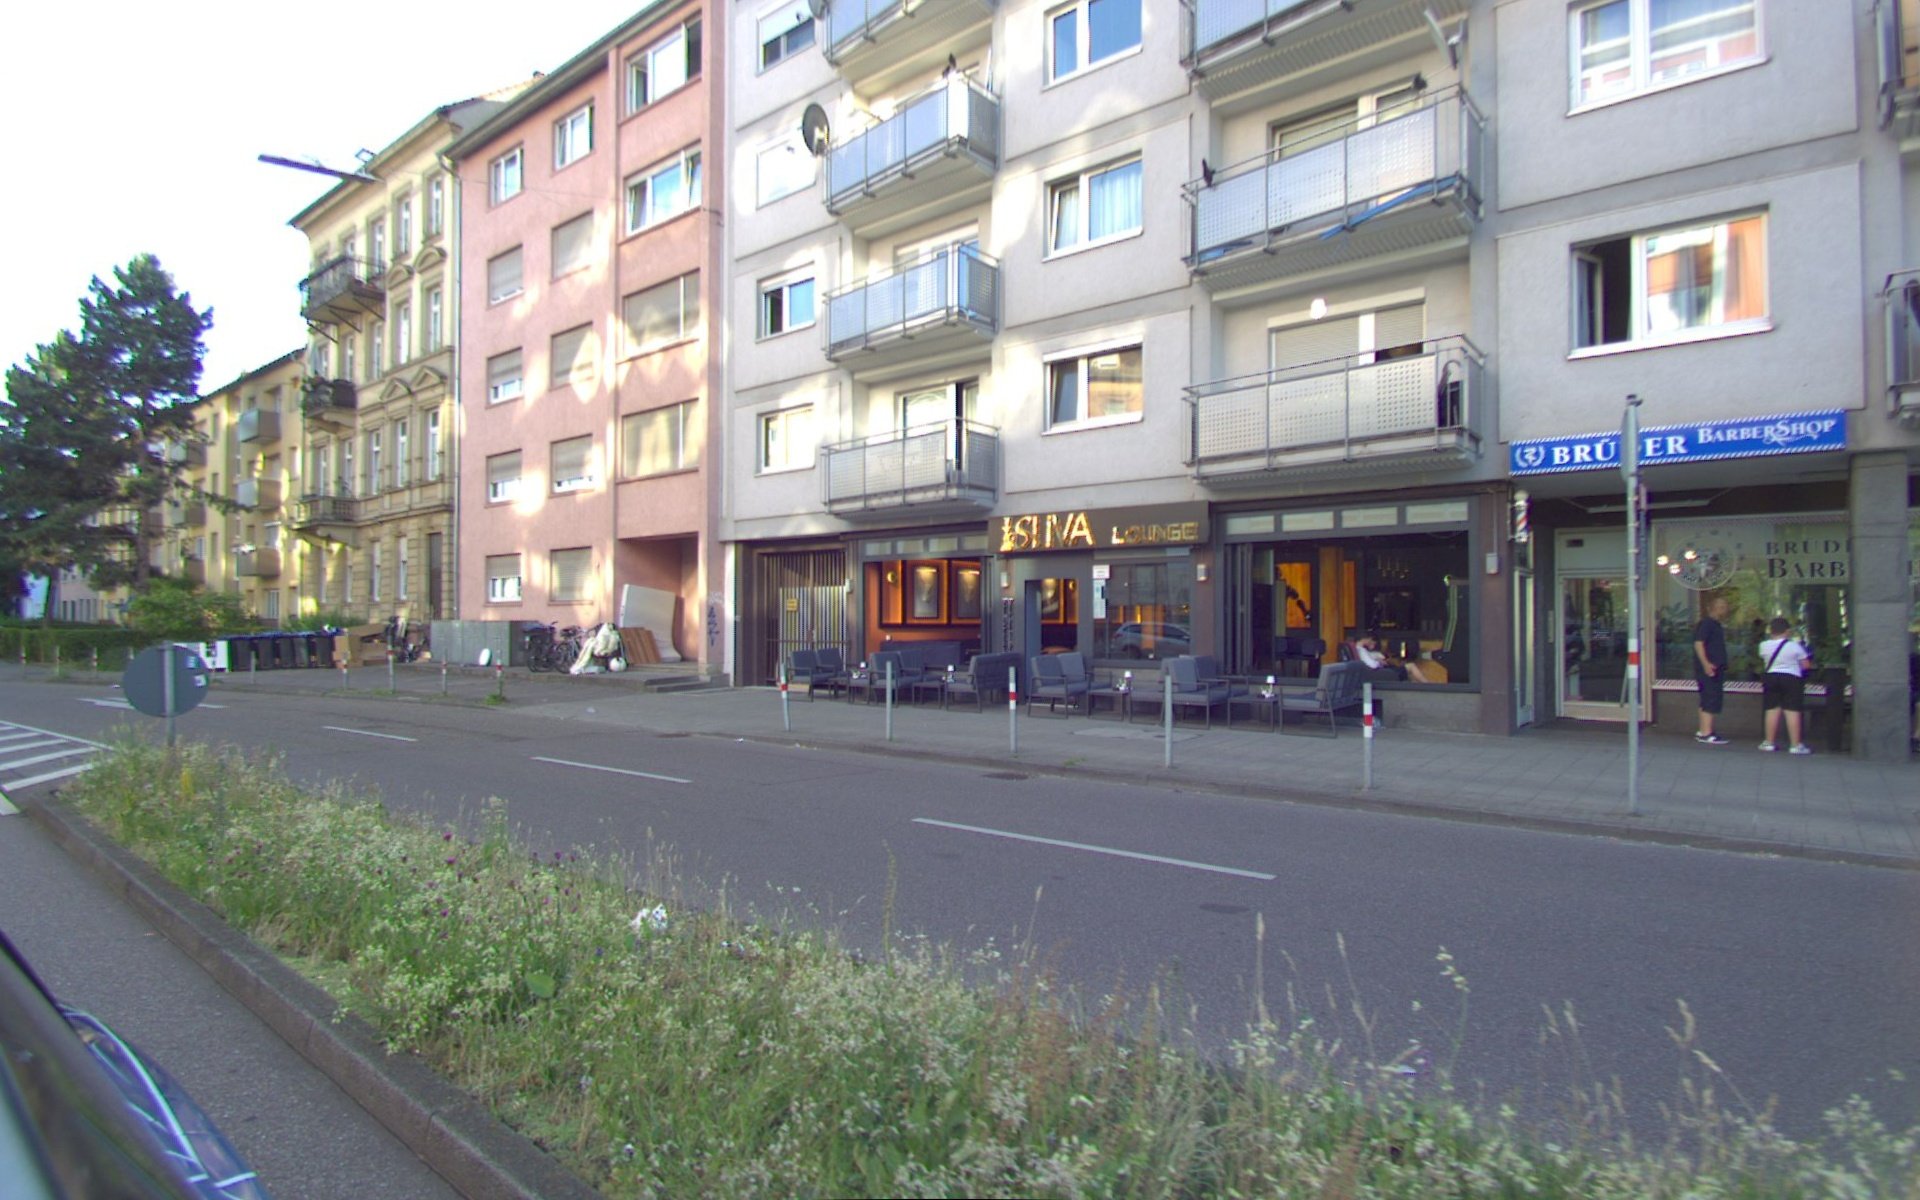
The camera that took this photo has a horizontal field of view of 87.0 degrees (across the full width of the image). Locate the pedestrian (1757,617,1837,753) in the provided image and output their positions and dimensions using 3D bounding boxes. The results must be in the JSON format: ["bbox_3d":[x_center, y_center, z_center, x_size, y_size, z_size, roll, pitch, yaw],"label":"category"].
[{"bbox_3d":[8.879,0.882,10.740,0.476,1.394,0.483,1,-2,-30],"label":"pedestrian"}]

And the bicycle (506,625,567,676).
[{"bbox_3d":[-10.429,1.219,24.967,0.491,1.169,1.668,-1,0,14],"label":"bicycle"}]

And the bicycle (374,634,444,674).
[{"bbox_3d":[-16.243,1.578,29.861,0.661,0.974,1.633,-2,4,38],"label":"bicycle"}]

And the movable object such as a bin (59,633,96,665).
[{"bbox_3d":[-31.878,1.760,36.552,0.768,1.058,0.859,-2,1,38],"label":"movable object such as a bin"}]

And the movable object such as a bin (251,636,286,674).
[{"bbox_3d":[-21.061,1.666,30.828,0.577,1.119,0.640,-1,1,9],"label":"movable object such as a bin"}]

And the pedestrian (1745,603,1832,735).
[{"bbox_3d":[10.361,0.846,12.666,0.787,1.590,0.555,-2,-2,41],"label":"pedestrian"}]

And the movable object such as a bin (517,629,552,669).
[{"bbox_3d":[-11.191,1.287,26.629,0.588,1.039,0.668,-2,-2,39],"label":"movable object such as a bin"}]

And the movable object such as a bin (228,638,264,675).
[{"bbox_3d":[-21.780,1.718,30.877,0.620,1.076,0.640,-1,1,9],"label":"movable object such as a bin"}]

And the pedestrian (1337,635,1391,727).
[{"bbox_3d":[5.467,1.087,13.715,0.546,1.212,0.521,-1,-2,8],"label":"pedestrian"}]

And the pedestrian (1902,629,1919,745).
[{"bbox_3d":[10.608,0.936,10.908,0.549,1.249,0.532,1,-2,-36],"label":"pedestrian"}]

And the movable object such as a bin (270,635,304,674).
[{"bbox_3d":[-20.428,1.646,30.713,0.577,1.119,0.640,-1,1,9],"label":"movable object such as a bin"}]

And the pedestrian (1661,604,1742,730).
[{"bbox_3d":[9.673,0.857,13.205,0.787,1.590,0.555,-2,-2,41],"label":"pedestrian"}]

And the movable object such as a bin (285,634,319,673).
[{"bbox_3d":[-19.812,1.612,30.464,0.577,1.119,0.640,-1,1,9],"label":"movable object such as a bin"}]

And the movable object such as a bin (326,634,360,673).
[{"bbox_3d":[-18.554,1.595,30.438,0.577,1.119,0.640,-1,1,9],"label":"movable object such as a bin"}]

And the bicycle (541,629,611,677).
[{"bbox_3d":[-9.094,1.234,24.017,0.546,1.048,1.661,-1,0,25],"label":"bicycle"}]

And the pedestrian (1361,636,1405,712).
[{"bbox_3d":[6.214,1.072,14.893,0.518,1.088,0.549,-1,-2,17],"label":"pedestrian"}]

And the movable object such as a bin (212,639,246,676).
[{"bbox_3d":[-22.420,1.750,31.045,0.577,1.091,0.640,-1,1,9],"label":"movable object such as a bin"}]

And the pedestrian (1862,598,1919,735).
[{"bbox_3d":[11.299,0.777,11.998,0.786,1.590,0.556,-2,-2,35],"label":"pedestrian"}]

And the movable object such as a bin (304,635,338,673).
[{"bbox_3d":[-19.212,1.617,30.446,0.577,1.119,0.640,-1,1,9],"label":"movable object such as a bin"}]

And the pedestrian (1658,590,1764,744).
[{"bbox_3d":[8.684,0.760,11.727,0.552,1.714,0.781,0,-2,-7],"label":"pedestrian"}]

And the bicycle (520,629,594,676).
[{"bbox_3d":[-9.752,1.258,24.521,0.548,1.048,1.656,-1,0,33],"label":"bicycle"}]

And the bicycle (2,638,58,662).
[{"bbox_3d":[-40.655,2.180,44.260,0.589,0.989,1.740,-2,-1,40],"label":"bicycle"}]
